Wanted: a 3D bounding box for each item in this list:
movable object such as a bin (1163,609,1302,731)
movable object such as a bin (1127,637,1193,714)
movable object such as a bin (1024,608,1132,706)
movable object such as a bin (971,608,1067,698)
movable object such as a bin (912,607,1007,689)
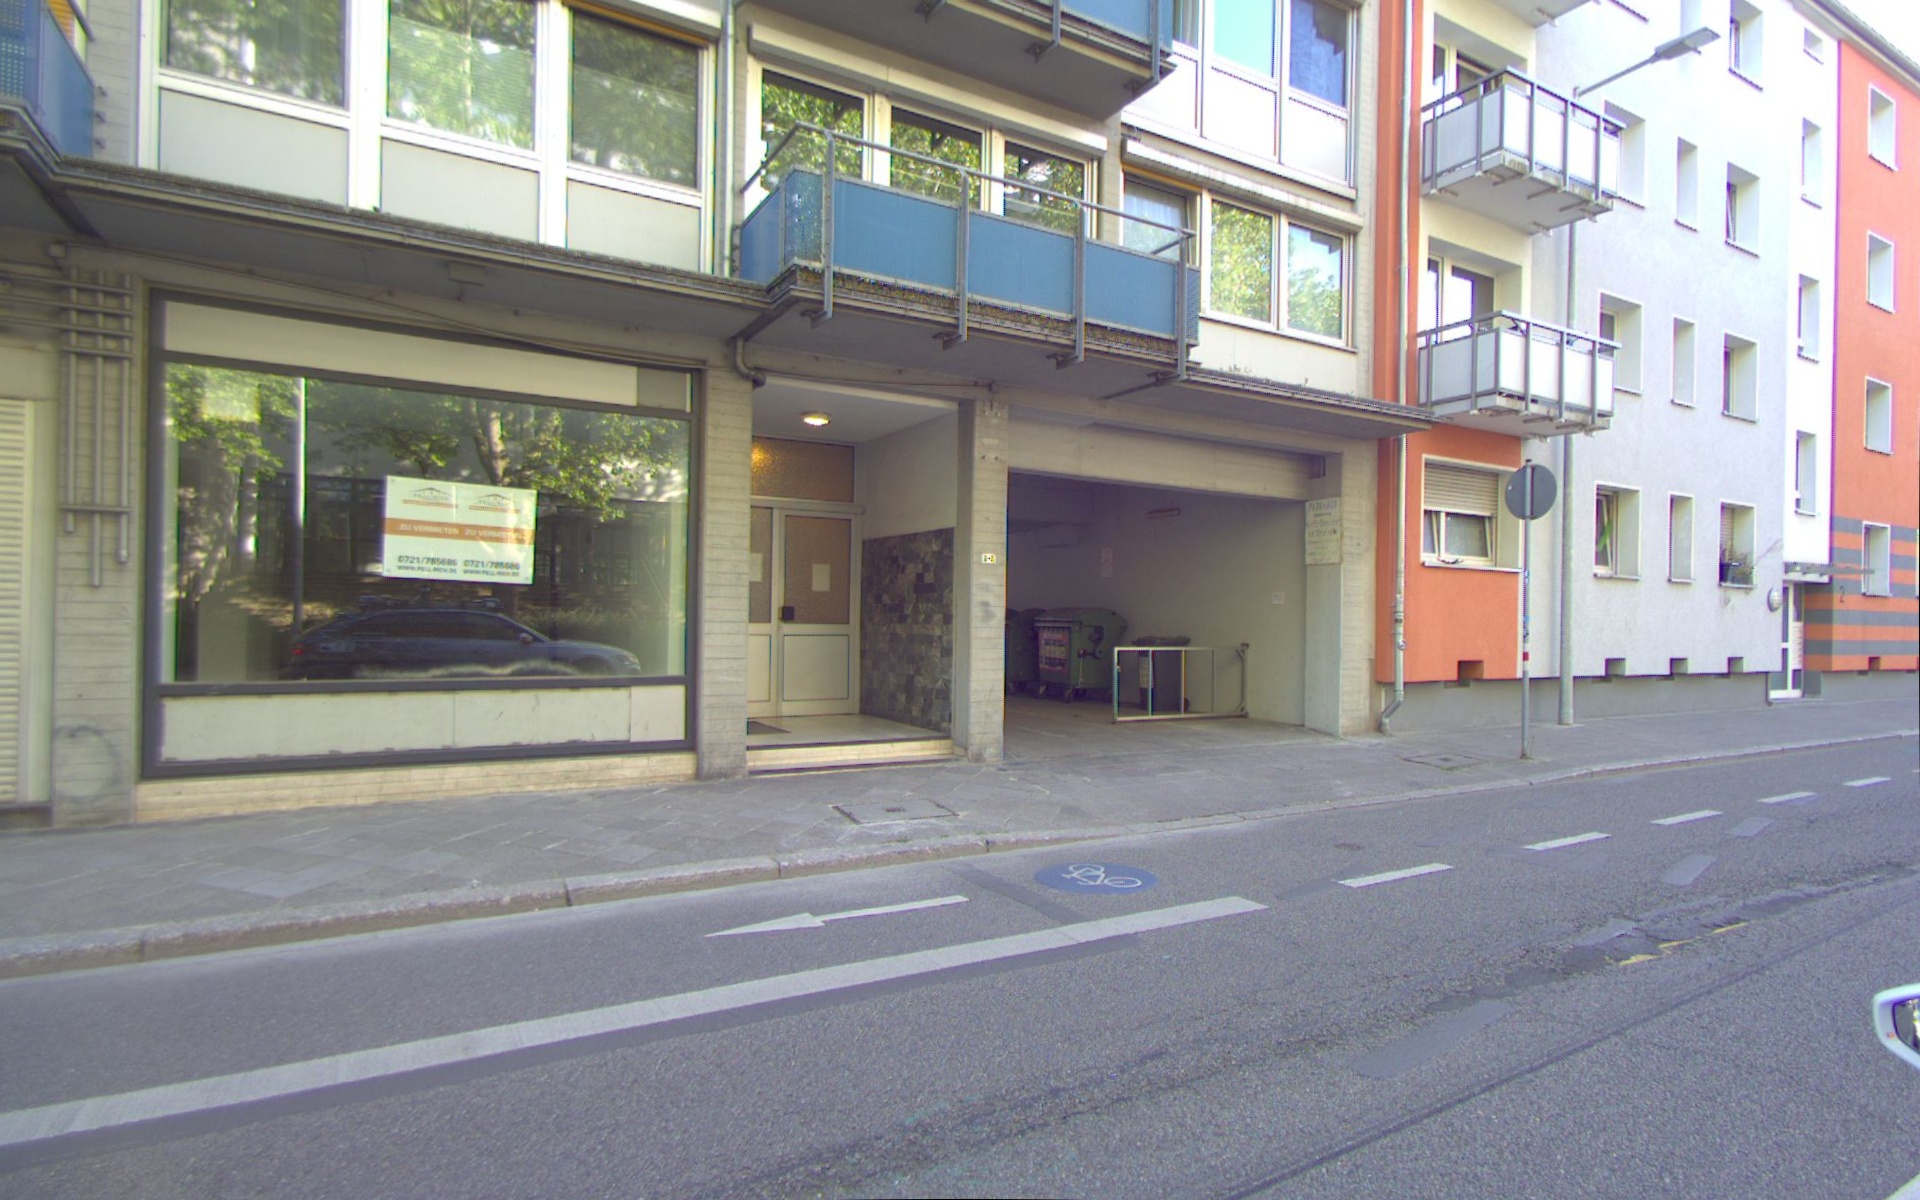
[{"bbox_3d":[3.484,0.856,12.906,1.119,1.449,1.322,1,0,-28],"label":"movable object such as a bin"},{"bbox_3d":[2.894,1.081,14.536,0.695,1.055,0.593,2,0,-30],"label":"movable object such as a bin"},{"bbox_3d":[1.844,0.868,15.854,1.128,1.449,1.342,1,0,-28],"label":"movable object such as a bin"},{"bbox_3d":[0.992,0.874,17.177,1.119,1.449,1.322,1,0,-28],"label":"movable object such as a bin"},{"bbox_3d":[-0.035,0.872,18.880,1.119,1.449,1.666,1,-1,-28],"label":"movable object such as a bin"}]
